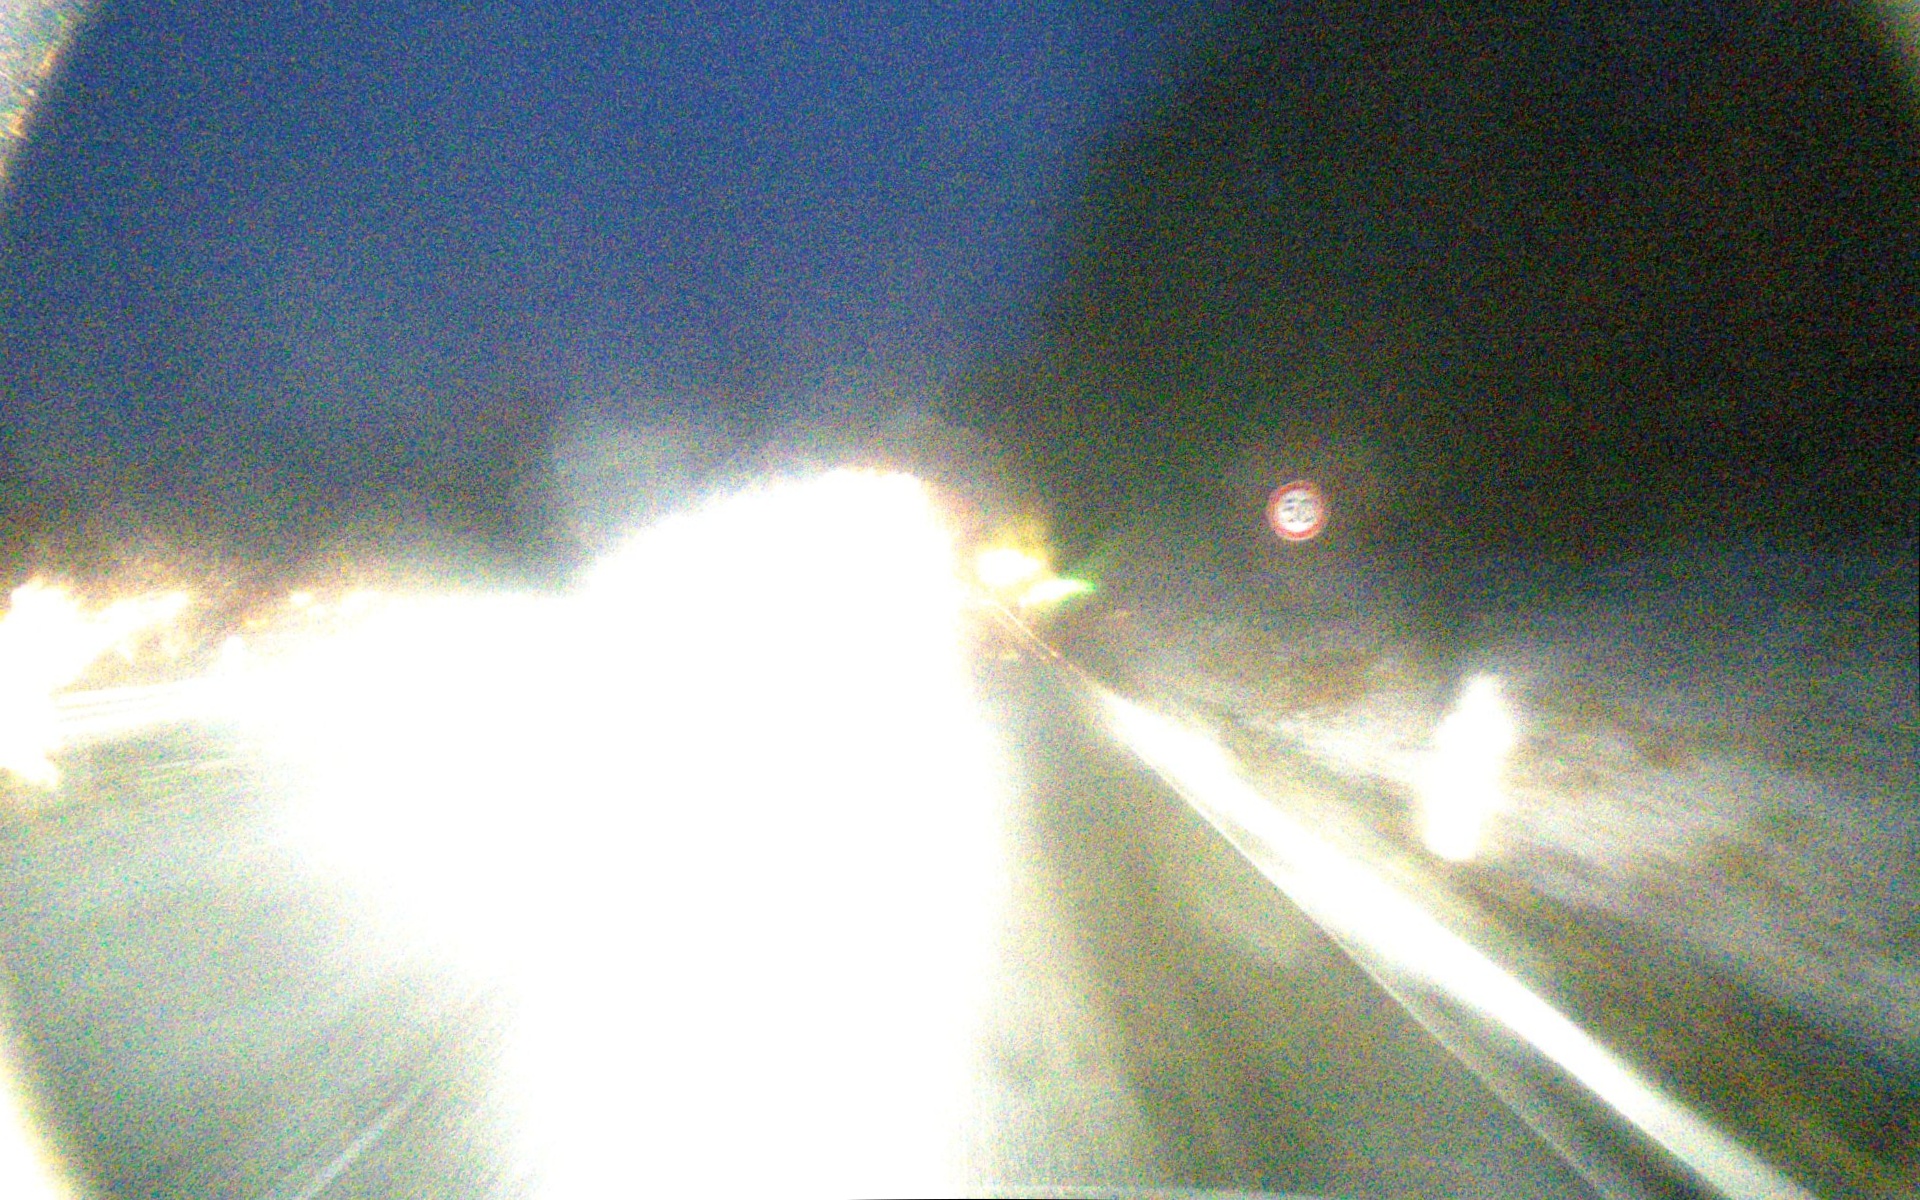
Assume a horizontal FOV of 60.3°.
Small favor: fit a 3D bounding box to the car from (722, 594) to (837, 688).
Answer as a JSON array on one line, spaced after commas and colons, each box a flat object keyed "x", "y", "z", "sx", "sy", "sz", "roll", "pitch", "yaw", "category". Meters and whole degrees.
[{"x": -3.480, "y": 0.750, "z": 32.628, "sx": 1.744, "sy": 1.696, "sz": 4.472, "roll": 1, "pitch": 0, "yaw": 0, "category": "car"}]

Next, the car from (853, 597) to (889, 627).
[{"x": -7.644, "y": 1.032, "z": 142.756, "sx": 2.697, "sy": 2.308, "sz": 6.260, "roll": -5, "pitch": -1, "yaw": -1, "category": "car"}]
